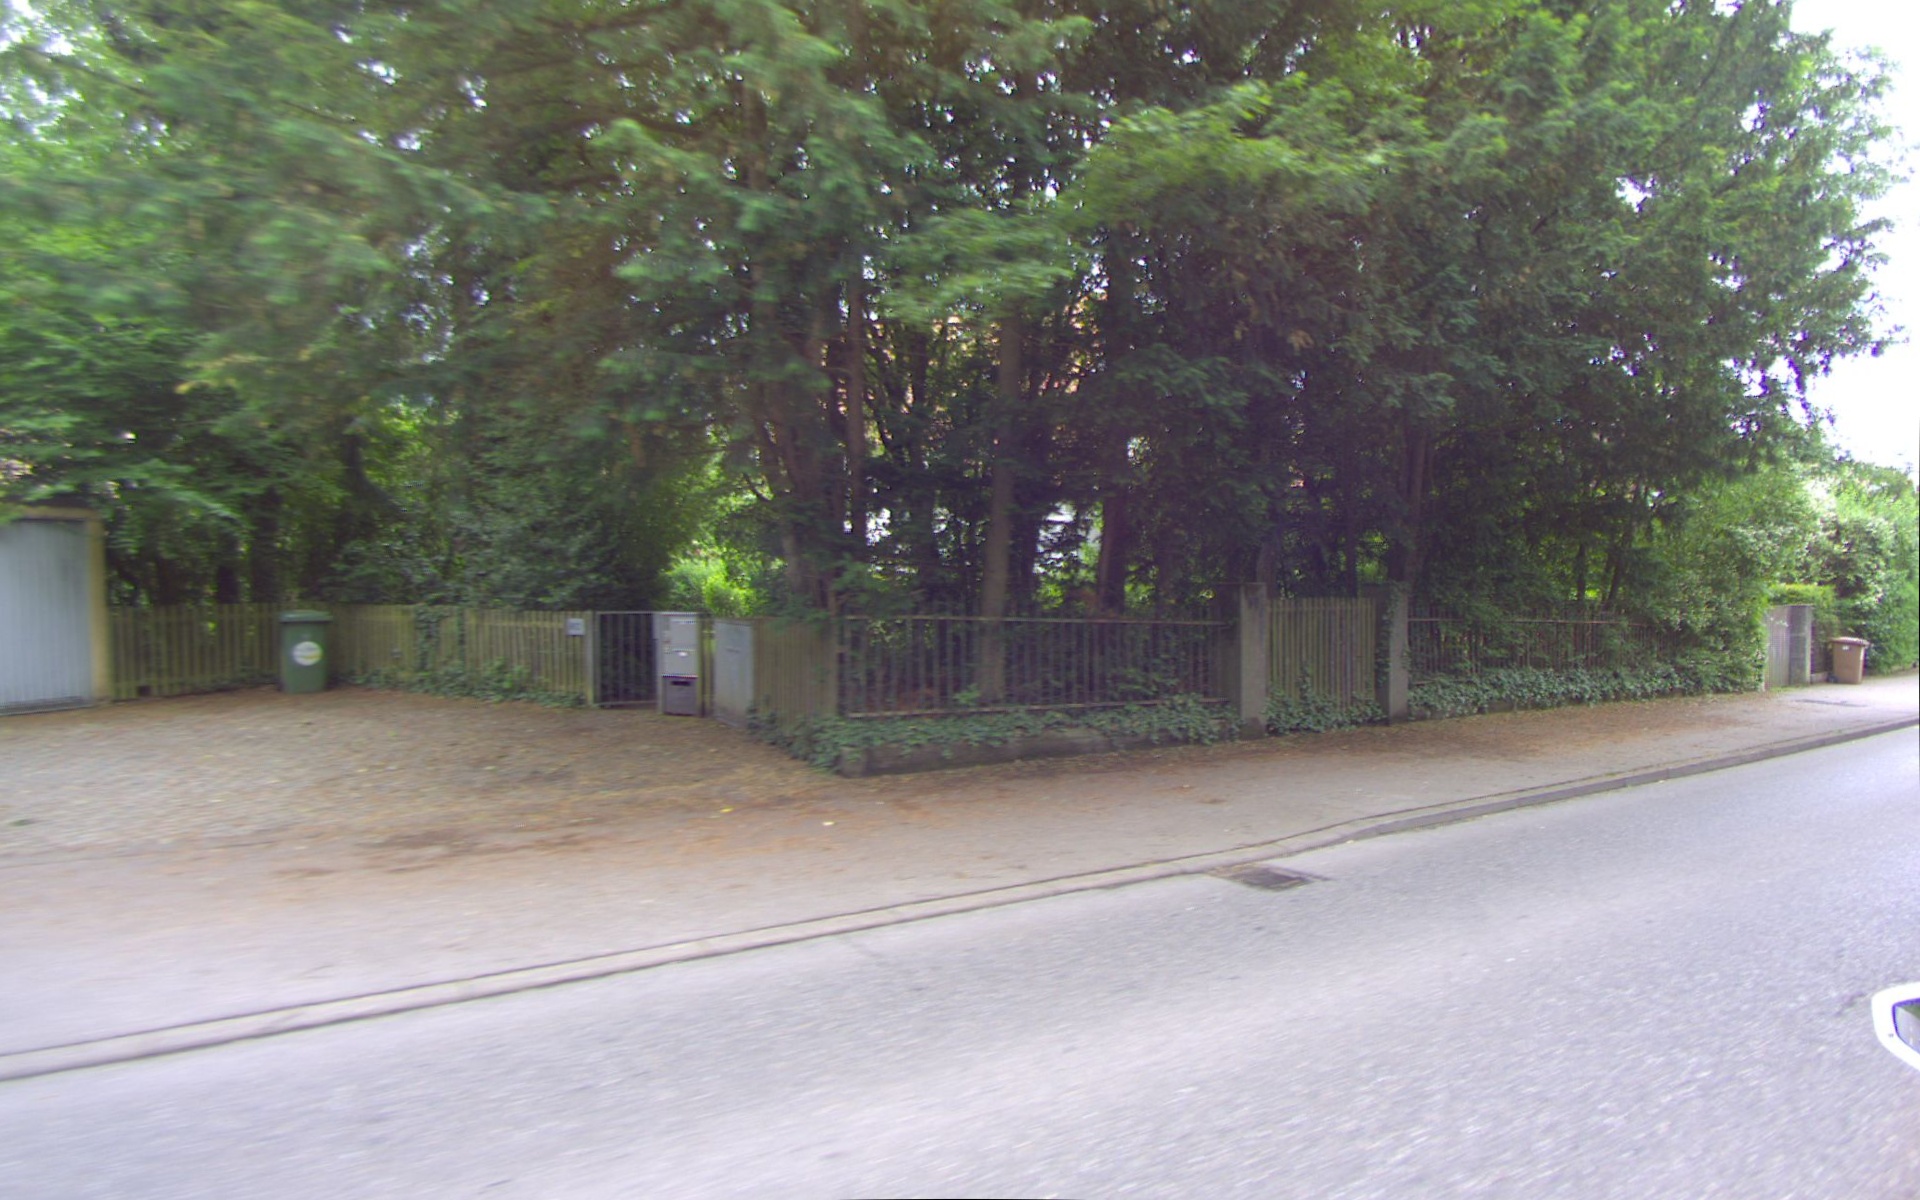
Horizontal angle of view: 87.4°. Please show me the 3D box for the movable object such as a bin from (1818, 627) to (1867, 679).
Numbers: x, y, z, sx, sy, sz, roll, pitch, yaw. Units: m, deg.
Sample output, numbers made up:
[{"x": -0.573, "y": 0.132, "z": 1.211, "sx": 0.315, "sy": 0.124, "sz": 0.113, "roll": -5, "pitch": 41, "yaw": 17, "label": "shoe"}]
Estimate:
[{"x": 20.817, "y": 1.233, "z": 23.691, "sx": 0.641, "sy": 1.157, "sz": 0.735, "roll": 1, "pitch": 2, "yaw": -39, "label": "movable object such as a bin"}]

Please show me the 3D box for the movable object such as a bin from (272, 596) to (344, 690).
[{"x": -8.610, "y": 0.551, "z": 13.253, "sx": 0.702, "sy": 1.157, "sz": 0.808, "roll": 1, "pitch": 2, "yaw": -39, "label": "movable object such as a bin"}]
